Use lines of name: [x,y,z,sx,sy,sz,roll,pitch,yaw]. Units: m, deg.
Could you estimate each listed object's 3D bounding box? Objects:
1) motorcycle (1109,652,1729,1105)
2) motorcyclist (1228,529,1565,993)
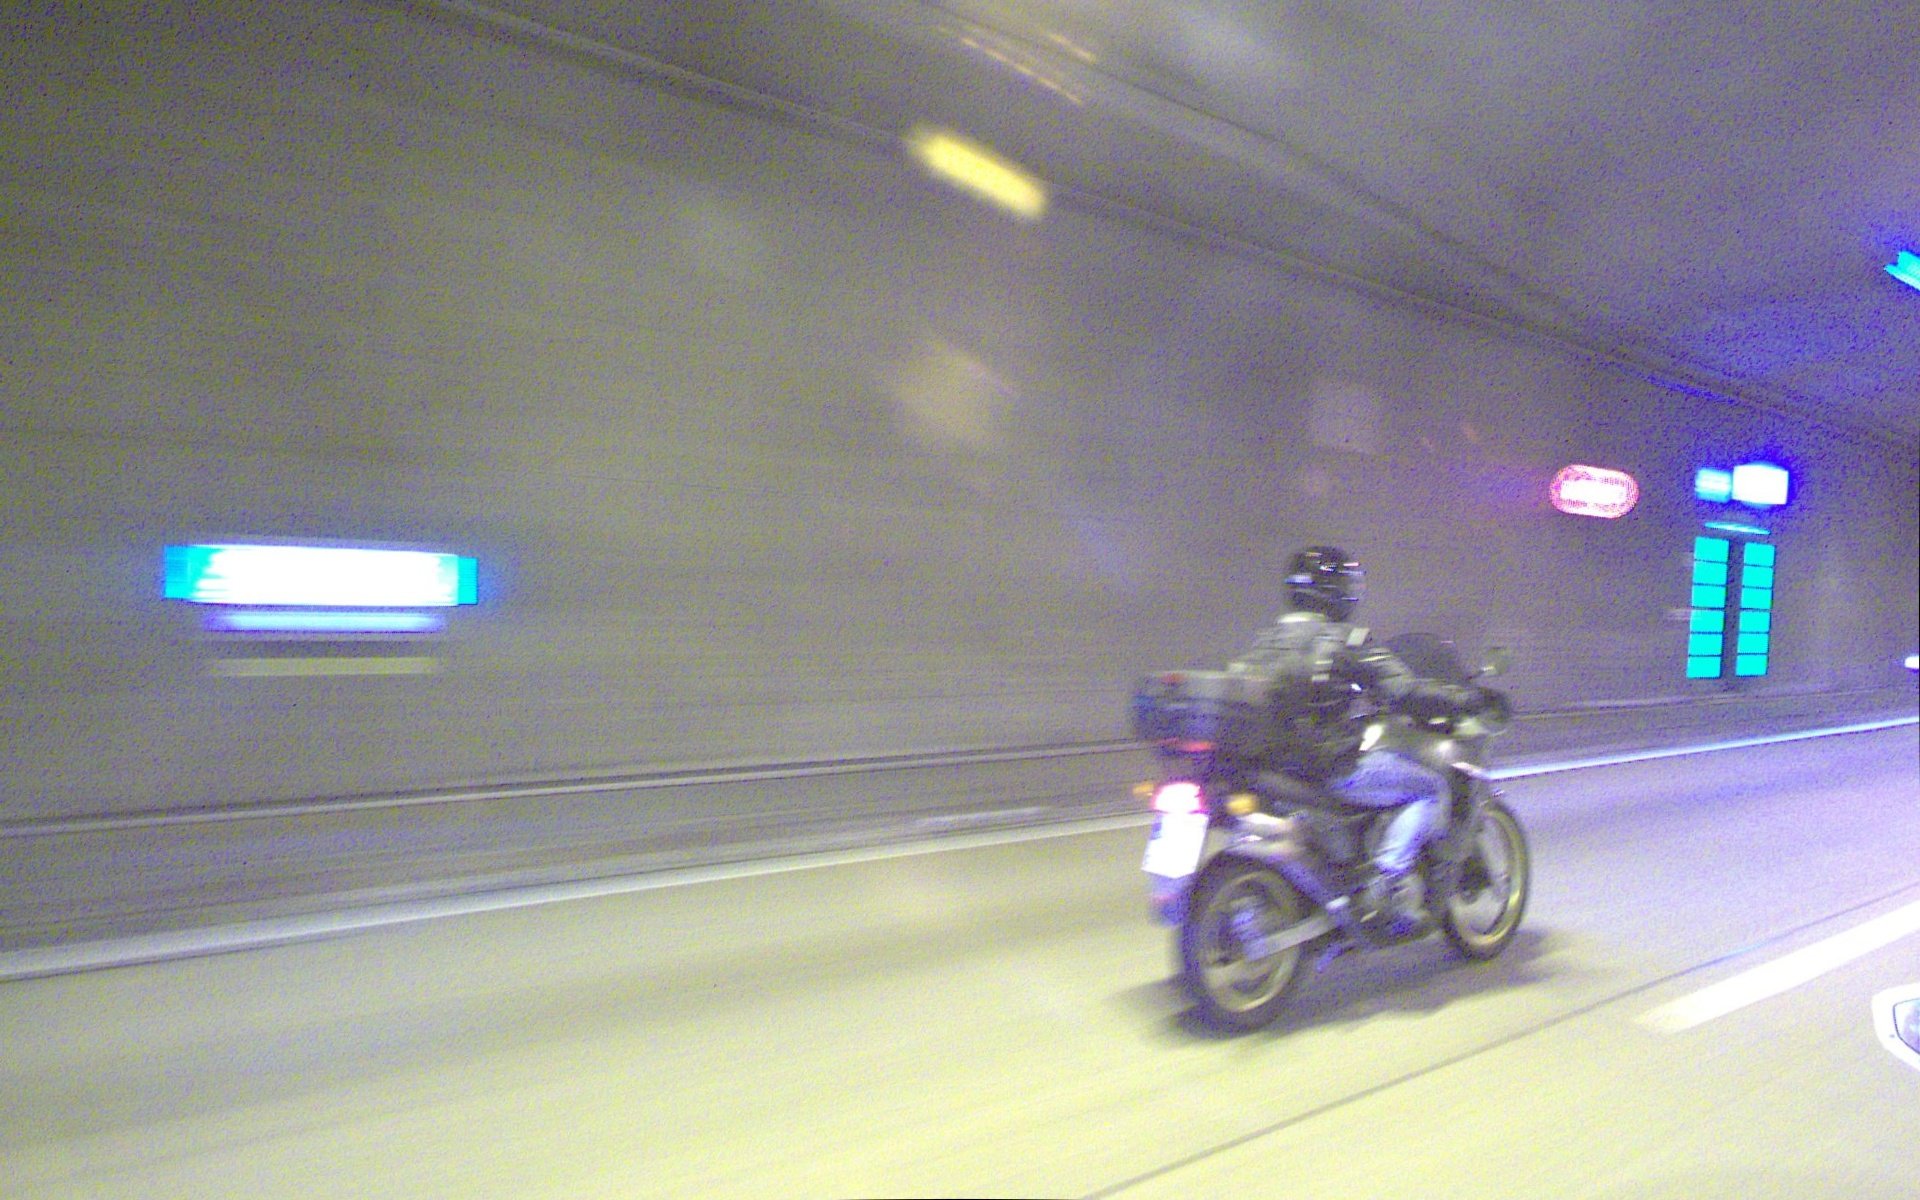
motorcycle: [1.872,0.858,3.906,2.573,1.262,0.842,2,0,-30]
motorcyclist: [1.624,0.524,3.806,0.811,1.497,0.835,1,0,-29]
